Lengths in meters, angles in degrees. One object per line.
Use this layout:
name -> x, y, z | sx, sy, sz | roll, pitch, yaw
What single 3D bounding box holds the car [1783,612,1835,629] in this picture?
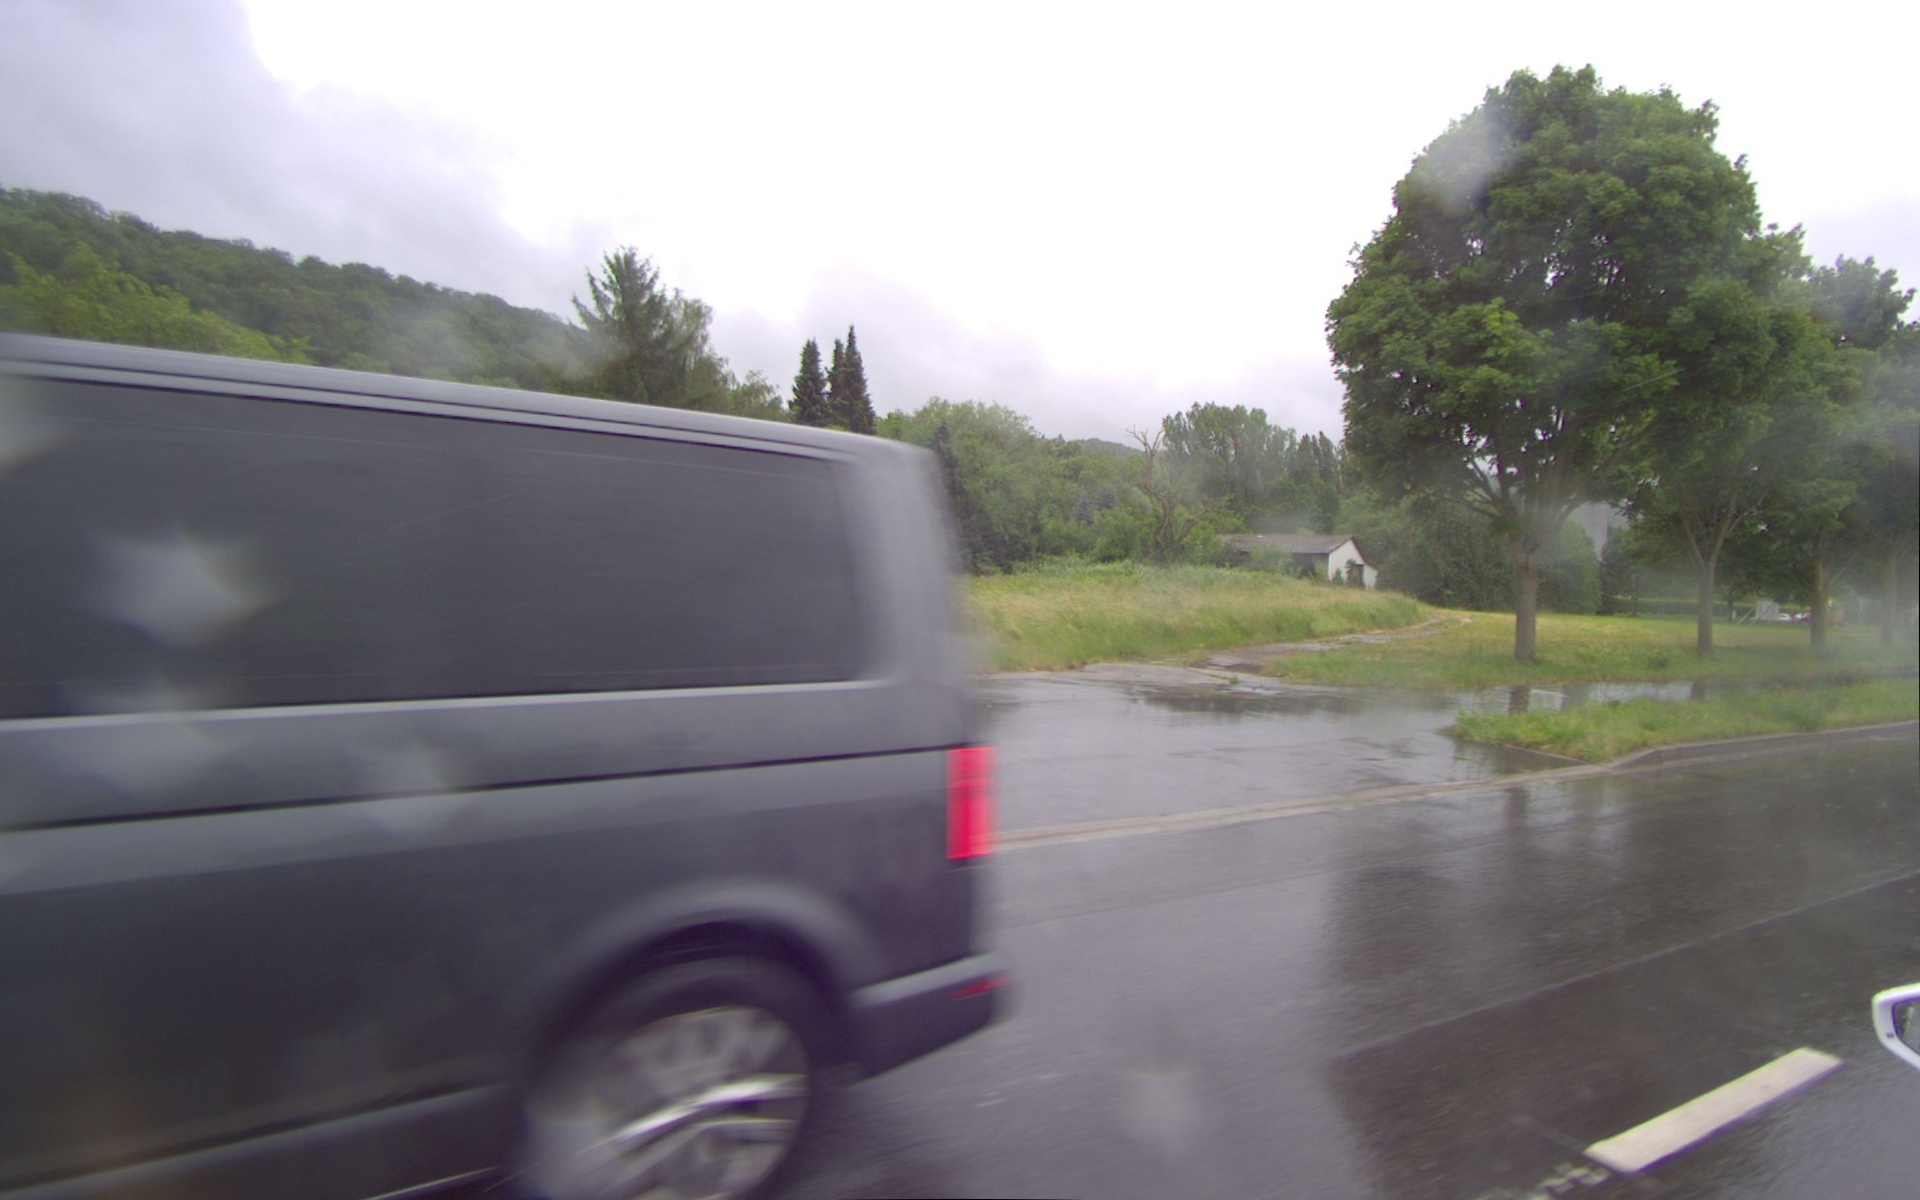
car -> 98.108, 2.352, 116.085 | 1.720, 1.601, 4.334 | 2, 2, -42
